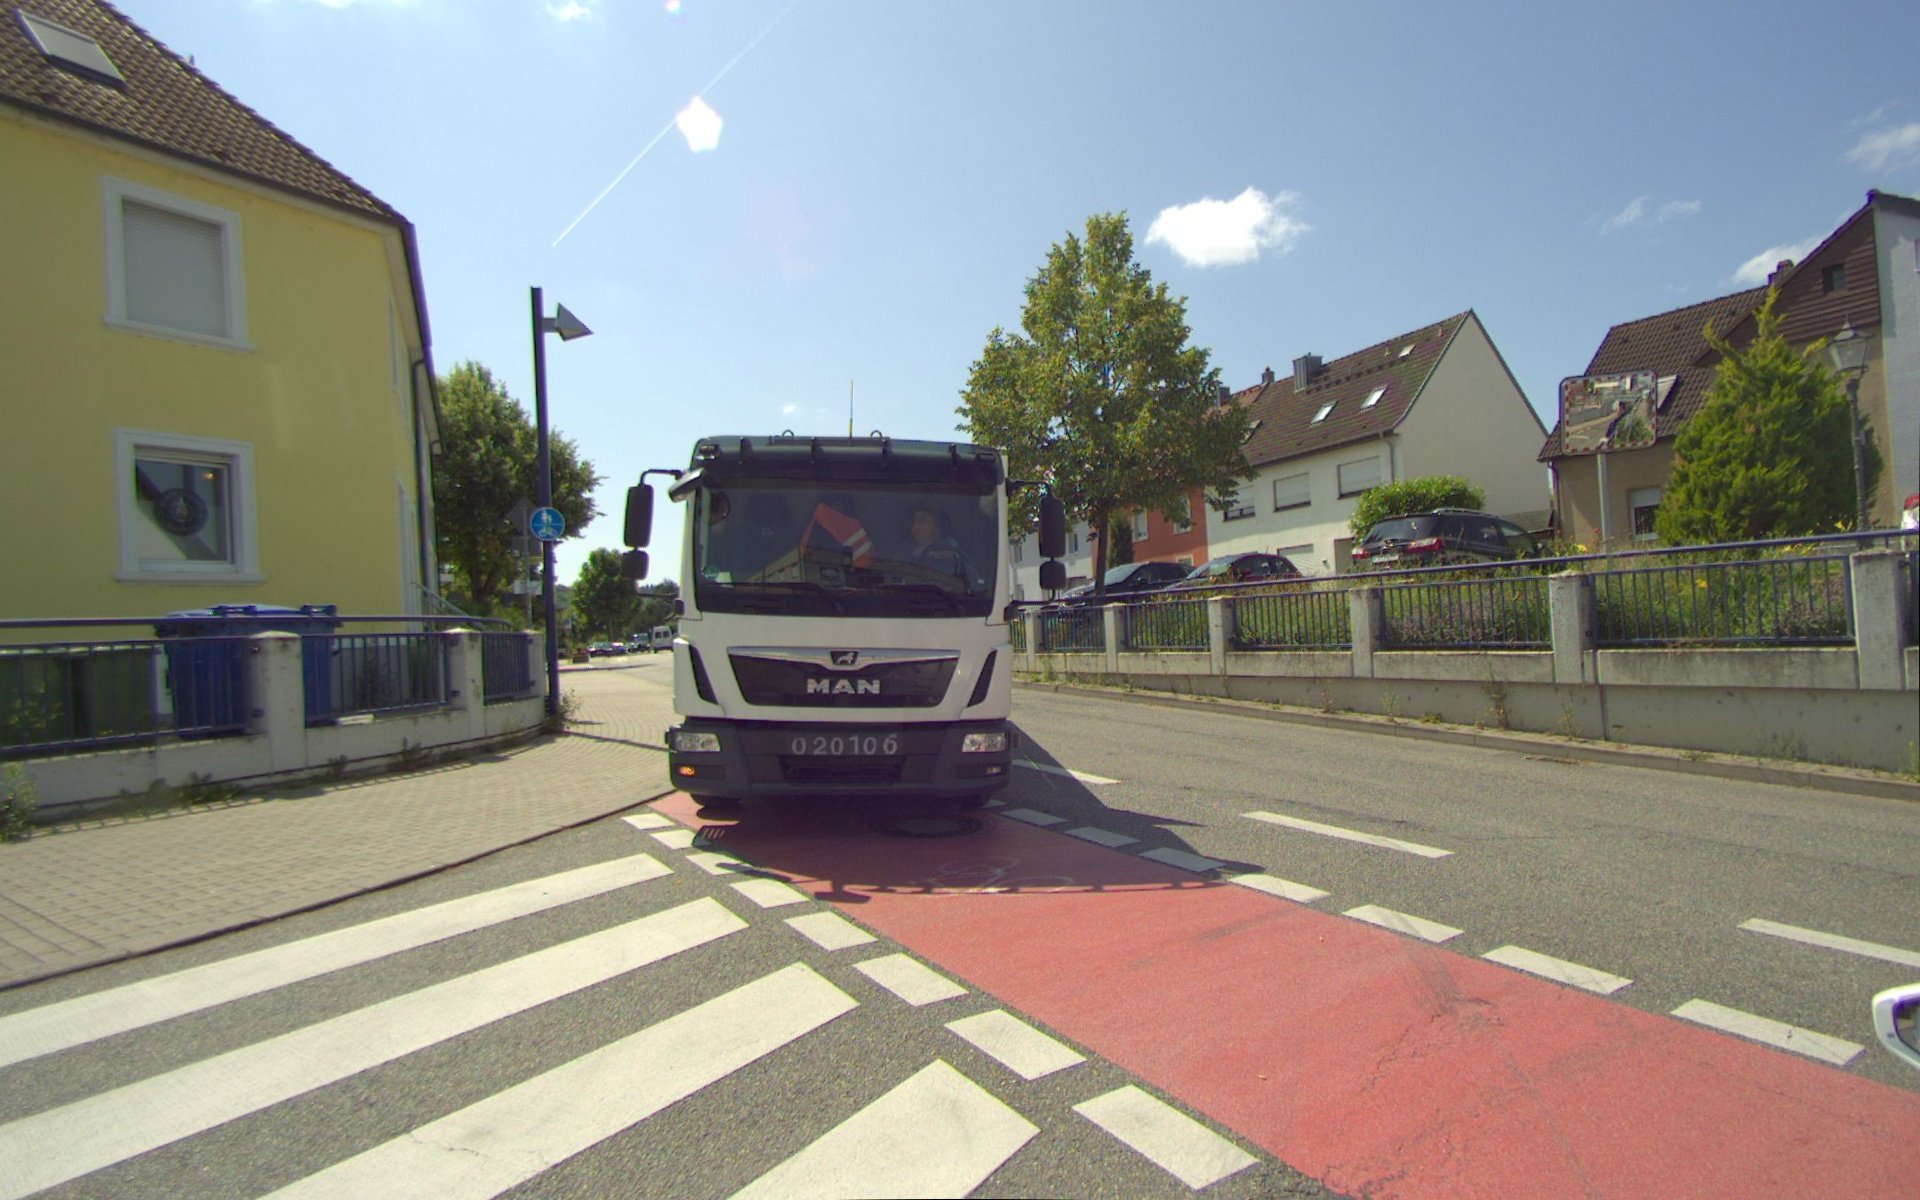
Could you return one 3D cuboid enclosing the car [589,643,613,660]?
[{"bbox_3d":[-34.247,4.915,95.894,1.969,1.416,3.984,-2,-1,-19],"label":"car"}]

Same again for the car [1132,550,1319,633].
[{"bbox_3d":[5.575,-0.170,21.065,3.569,1.608,1.857,0,1,-32],"label":"car"}]

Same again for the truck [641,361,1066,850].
[{"bbox_3d":[-0.939,0.054,10.119,2.568,2.915,8.067,0,0,-5],"label":"truck"}]

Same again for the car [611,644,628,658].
[{"bbox_3d":[-41.126,6.147,121.350,1.785,1.416,3.987,-2,-1,-17],"label":"car"}]

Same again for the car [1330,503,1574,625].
[{"bbox_3d":[8.314,-0.540,16.917,3.955,1.821,1.857,0,1,-32],"label":"car"}]

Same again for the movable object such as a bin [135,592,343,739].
[{"bbox_3d":[-6.503,0.569,9.124,0.826,1.229,1.276,-2,-1,20],"label":"movable object such as a bin"}]

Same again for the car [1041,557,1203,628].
[{"bbox_3d":[3.959,-0.176,24.513,3.569,1.608,1.857,0,1,-32],"label":"car"}]

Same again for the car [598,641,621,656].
[{"bbox_3d":[-36.617,5.033,105.052,1.968,1.416,3.987,-2,-1,-17],"label":"car"}]

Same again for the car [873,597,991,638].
[{"bbox_3d":[-1.080,0.654,38.536,4.198,1.508,1.737,0,1,-25],"label":"car"}]

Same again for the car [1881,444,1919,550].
[{"bbox_3d":[11.534,-1.051,10.594,3.420,1.033,1.815,0,1,-32],"label":"car"}]
